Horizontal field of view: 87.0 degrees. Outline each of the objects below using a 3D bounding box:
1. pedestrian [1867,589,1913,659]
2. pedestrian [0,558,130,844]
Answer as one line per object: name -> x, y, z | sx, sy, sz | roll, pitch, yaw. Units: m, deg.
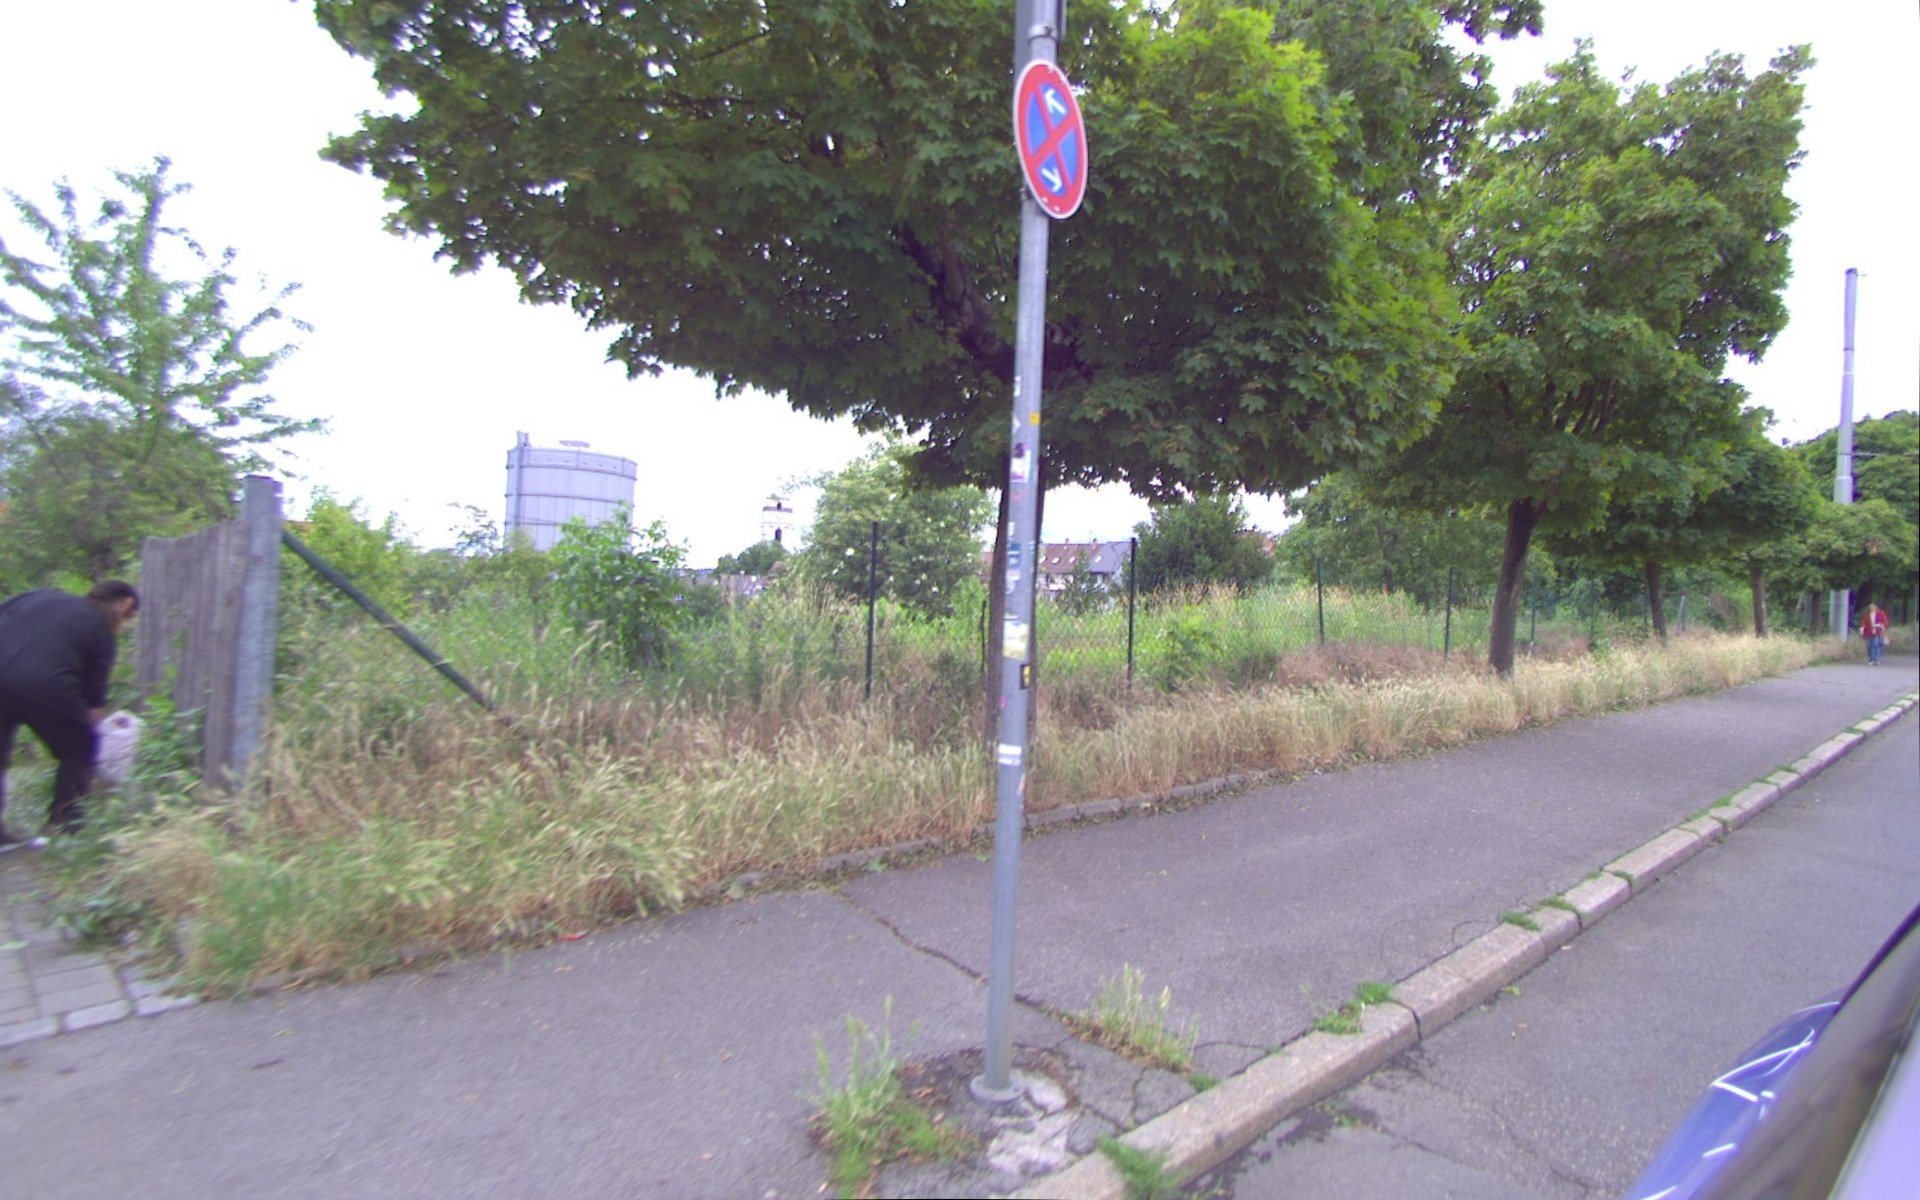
pedestrian -> 22.652, 0.566, 24.645 | 0.706, 1.641, 0.716 | 0, 1, -41
pedestrian -> -4.645, 0.459, 5.023 | 0.794, 1.325, 0.746 | 0, 1, -41
